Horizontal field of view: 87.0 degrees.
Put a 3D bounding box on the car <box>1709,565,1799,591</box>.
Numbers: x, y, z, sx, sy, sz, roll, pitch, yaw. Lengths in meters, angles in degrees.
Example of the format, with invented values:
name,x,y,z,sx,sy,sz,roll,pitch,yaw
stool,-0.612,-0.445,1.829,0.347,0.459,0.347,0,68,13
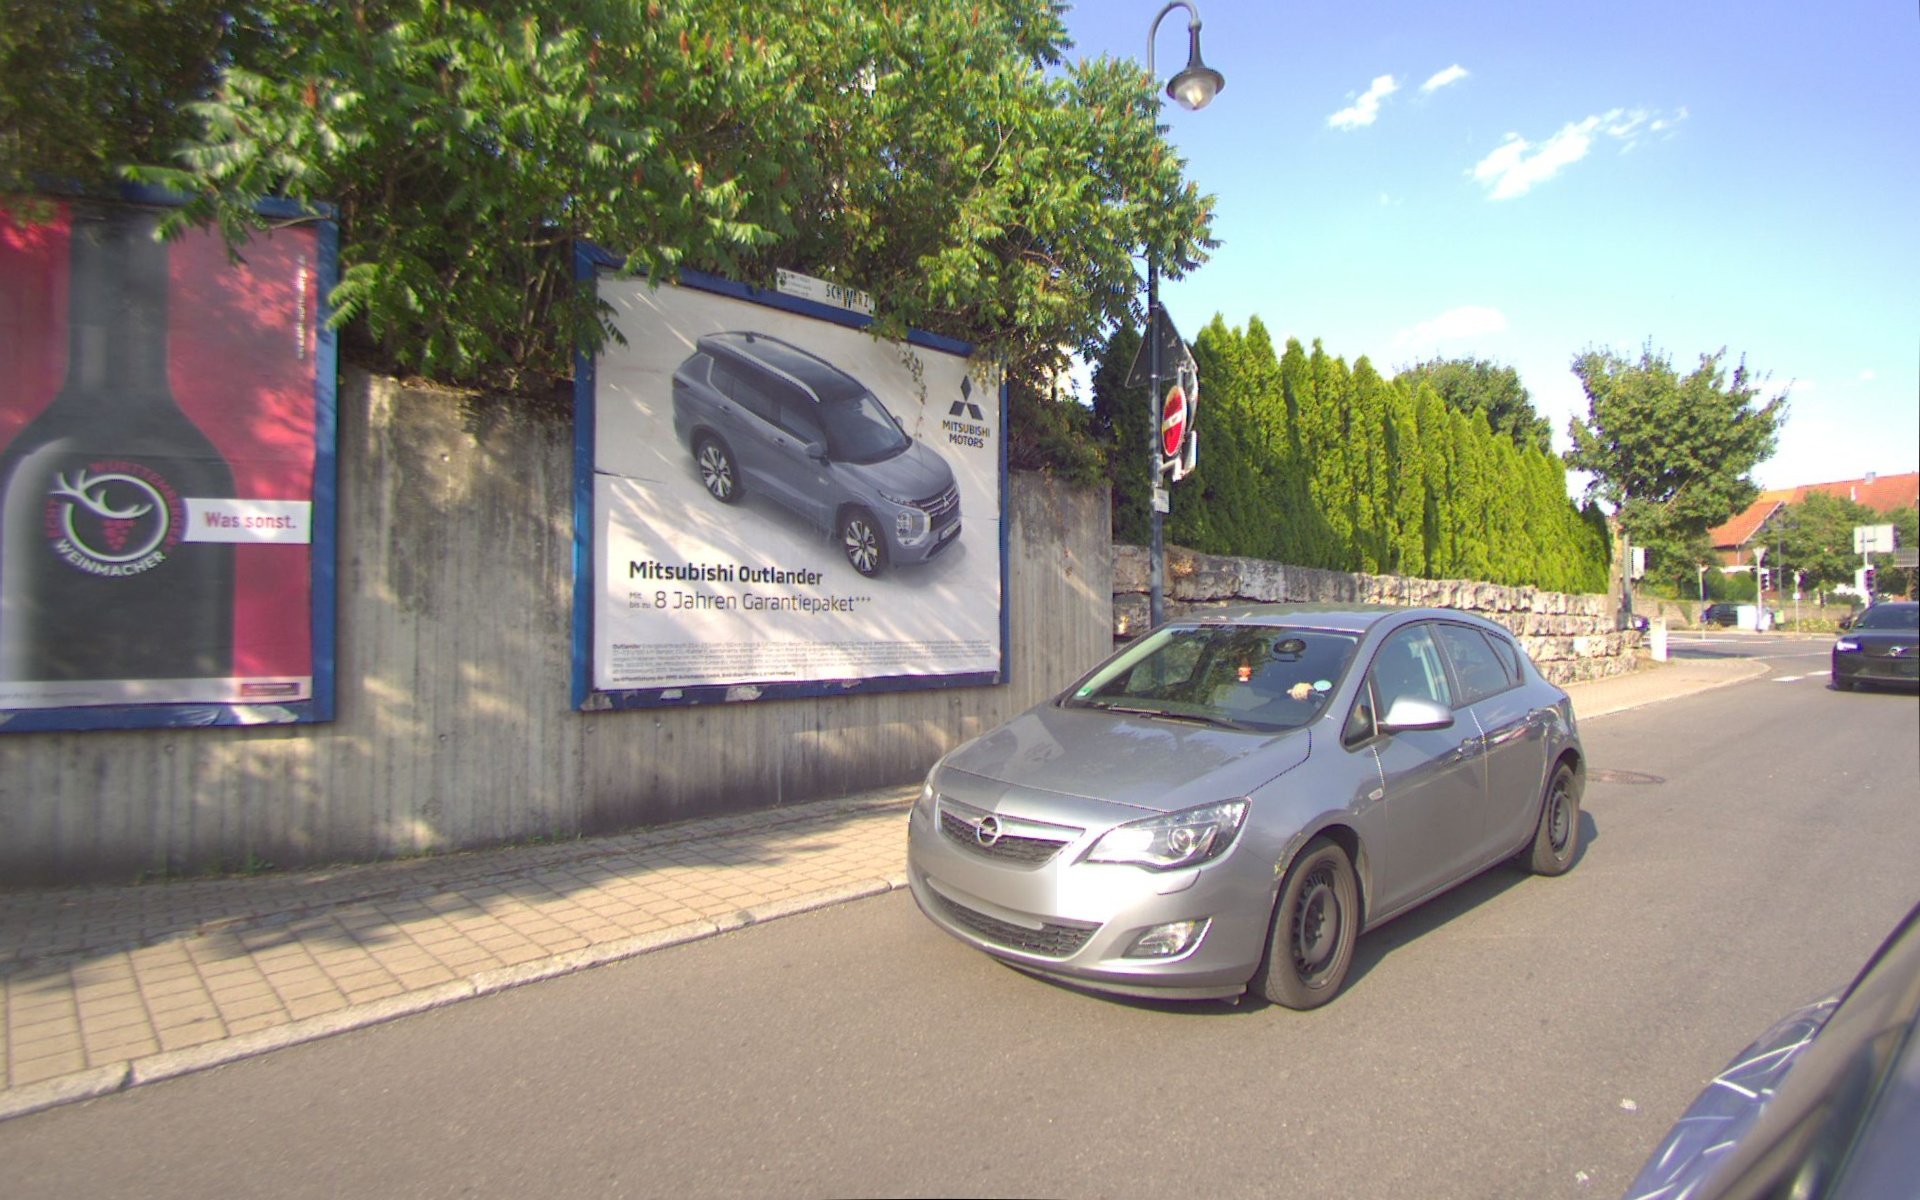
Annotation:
name,x,y,z,sx,sy,sz,roll,pitch,yaw
car,49.025,-1.315,62.556,1.644,1.475,4.085,1,-1,-26

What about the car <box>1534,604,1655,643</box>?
name,x,y,z,sx,sy,sz,roll,pitch,yaw
car,28.063,1.001,44.828,1.831,1.646,4.242,1,-1,-44

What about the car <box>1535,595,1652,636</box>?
name,x,y,z,sx,sy,sz,roll,pitch,yaw
car,25.812,0.603,41.313,1.572,1.561,3.788,0,0,-45

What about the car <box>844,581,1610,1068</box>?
name,x,y,z,sx,sy,sz,roll,pitch,yaw
car,1.588,0.681,4.985,4.071,1.440,1.650,1,0,-41

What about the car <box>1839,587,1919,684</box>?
name,x,y,z,sx,sy,sz,roll,pitch,yaw
car,17.562,0.616,18.337,3.982,1.626,1.791,1,-1,-39
